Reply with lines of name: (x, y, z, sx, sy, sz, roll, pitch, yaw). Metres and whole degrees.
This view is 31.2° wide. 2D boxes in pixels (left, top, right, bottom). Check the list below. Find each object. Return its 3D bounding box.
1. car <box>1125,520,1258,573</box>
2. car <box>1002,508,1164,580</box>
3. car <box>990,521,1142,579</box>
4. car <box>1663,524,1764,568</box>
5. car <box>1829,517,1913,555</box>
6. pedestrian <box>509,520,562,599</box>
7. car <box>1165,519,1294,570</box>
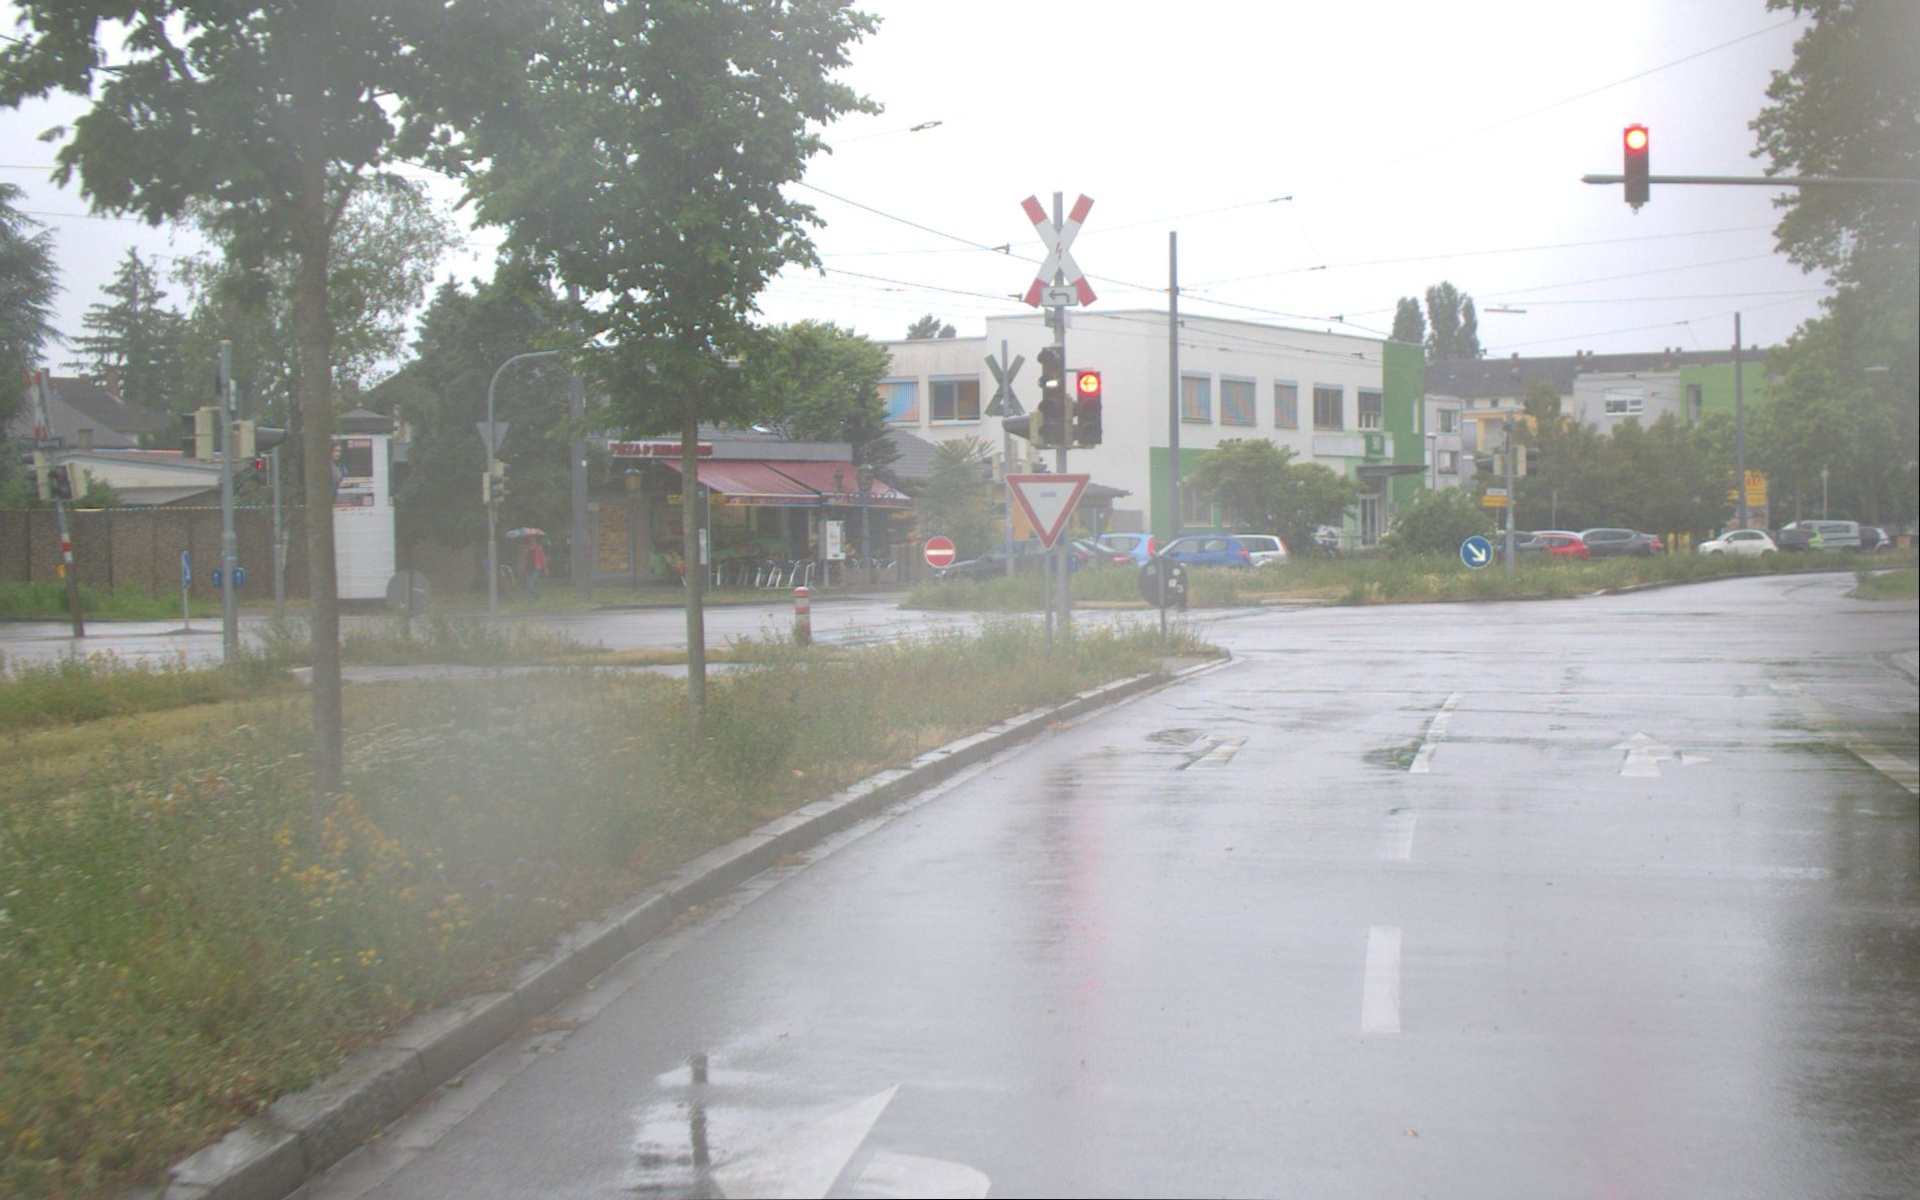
car: (6.633, -1.552, 98.931, 3.750, 1.437, 1.762, -1, 1, 3)
car: (3.396, -1.532, 94.443, 4.138, 1.853, 1.672, -1, 1, 16)
car: (2.821, -1.322, 91.038, 3.752, 1.437, 1.762, -1, 1, 12)
car: (33.284, -2.369, 151.874, 4.135, 1.853, 1.673, -1, 1, 5)
car: (46.911, -3.273, 177.072, 4.138, 1.853, 1.672, -1, 1, 16)
pedestrian: (-9.534, -0.906, 77.143, 0.800, 1.757, 0.909, -2, 1, -36)
car: (7.986, -1.656, 102.036, 3.750, 1.437, 1.762, -1, 1, 3)
